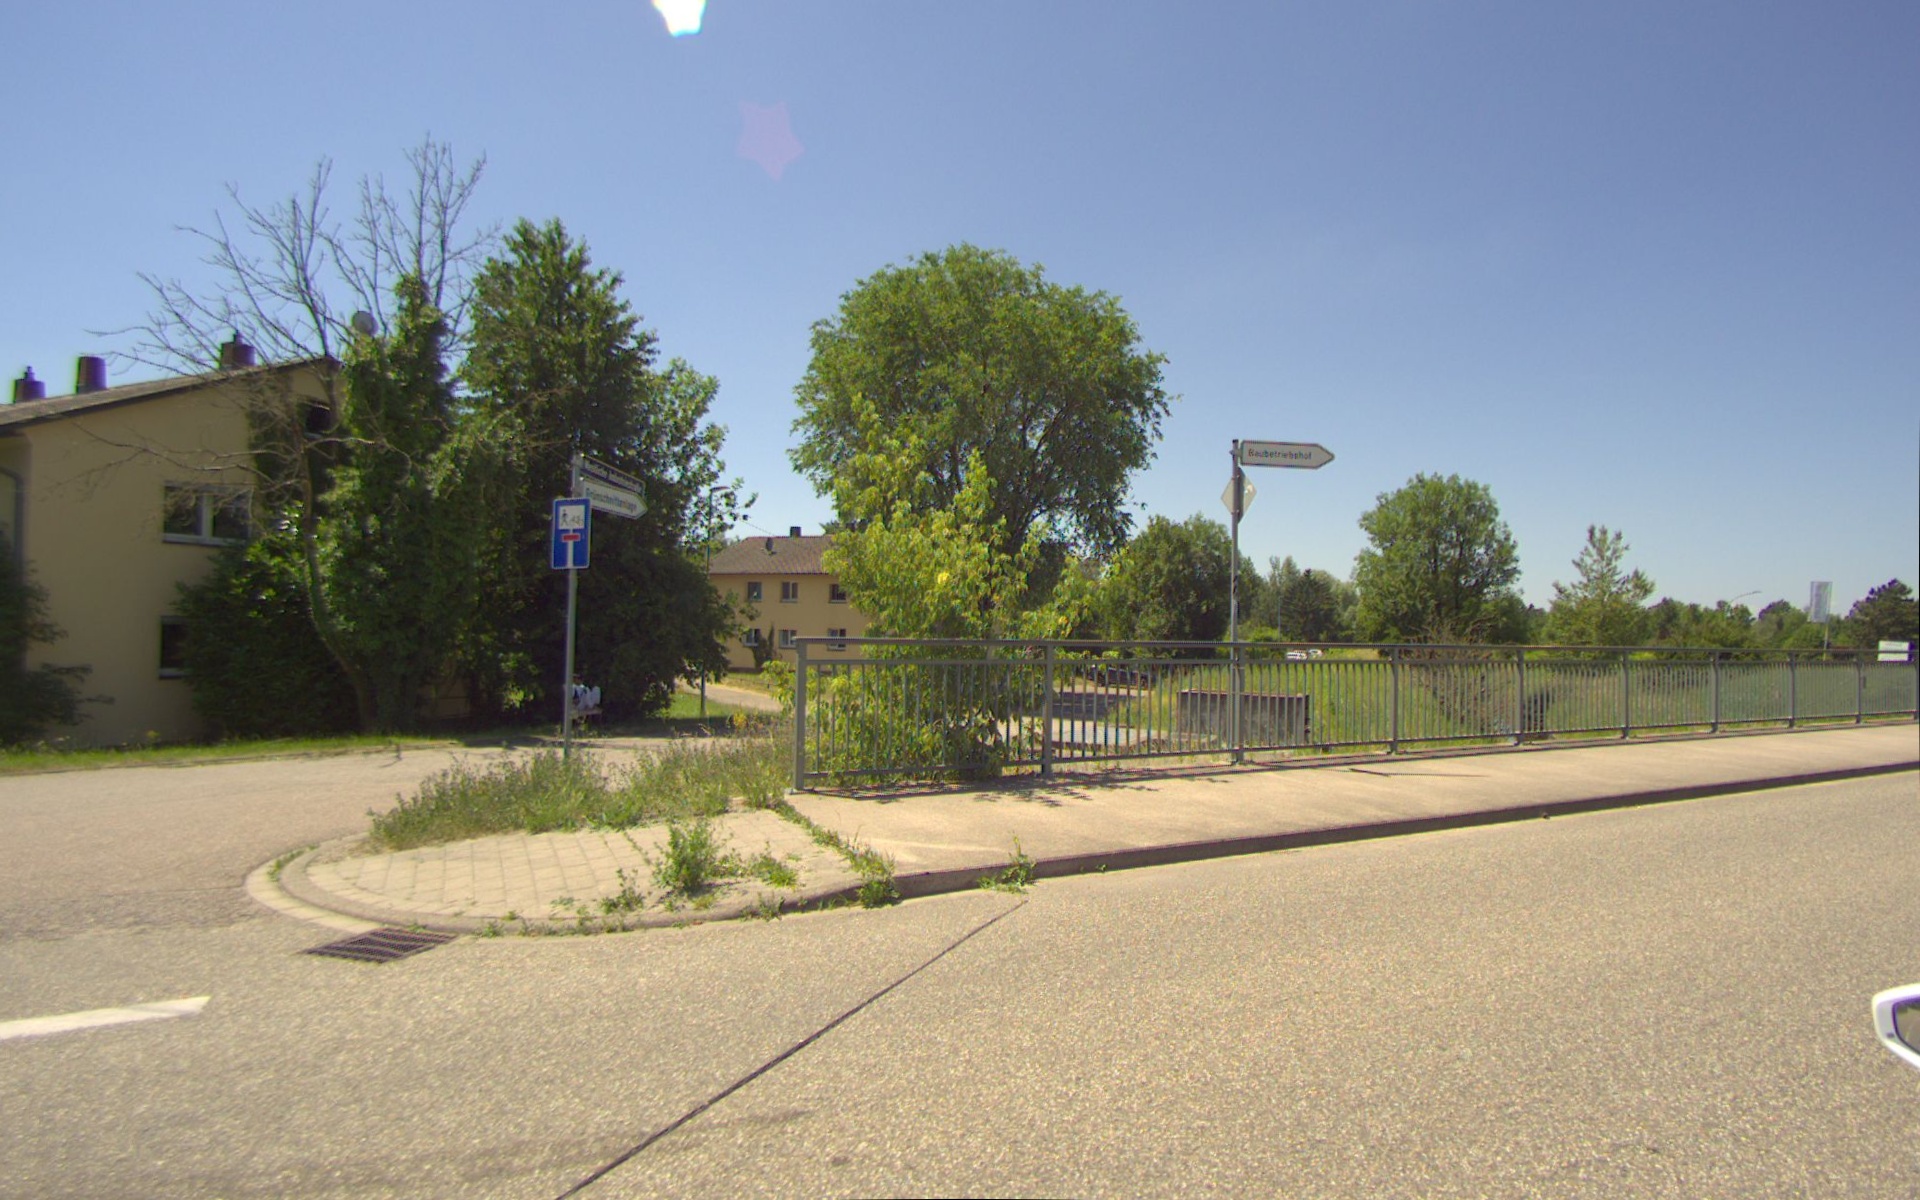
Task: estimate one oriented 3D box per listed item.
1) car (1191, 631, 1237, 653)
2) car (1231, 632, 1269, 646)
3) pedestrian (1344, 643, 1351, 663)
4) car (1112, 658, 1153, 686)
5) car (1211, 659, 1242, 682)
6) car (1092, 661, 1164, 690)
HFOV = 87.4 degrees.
[{"bbox_3d":[24.150,3.962,95.544,3.924,2.026,2.266,0,-2,24],"label":"car"},{"bbox_3d":[32.914,4.439,113.958,3.924,1.591,1.999,0,-2,24],"label":"car"},{"bbox_3d":[40.319,5.499,104.549,0.602,2.040,0.625,0,-2,20],"label":"pedestrian"},{"bbox_3d":[11.549,4.800,67.245,1.840,1.774,3.999,-1,-3,23],"label":"car"},{"bbox_3d":[19.967,5.237,75.101,1.960,1.617,4.001,0,-2,19],"label":"car"},{"bbox_3d":[10.233,4.555,61.175,3.924,1.591,1.999,0,-2,24],"label":"car"}]
